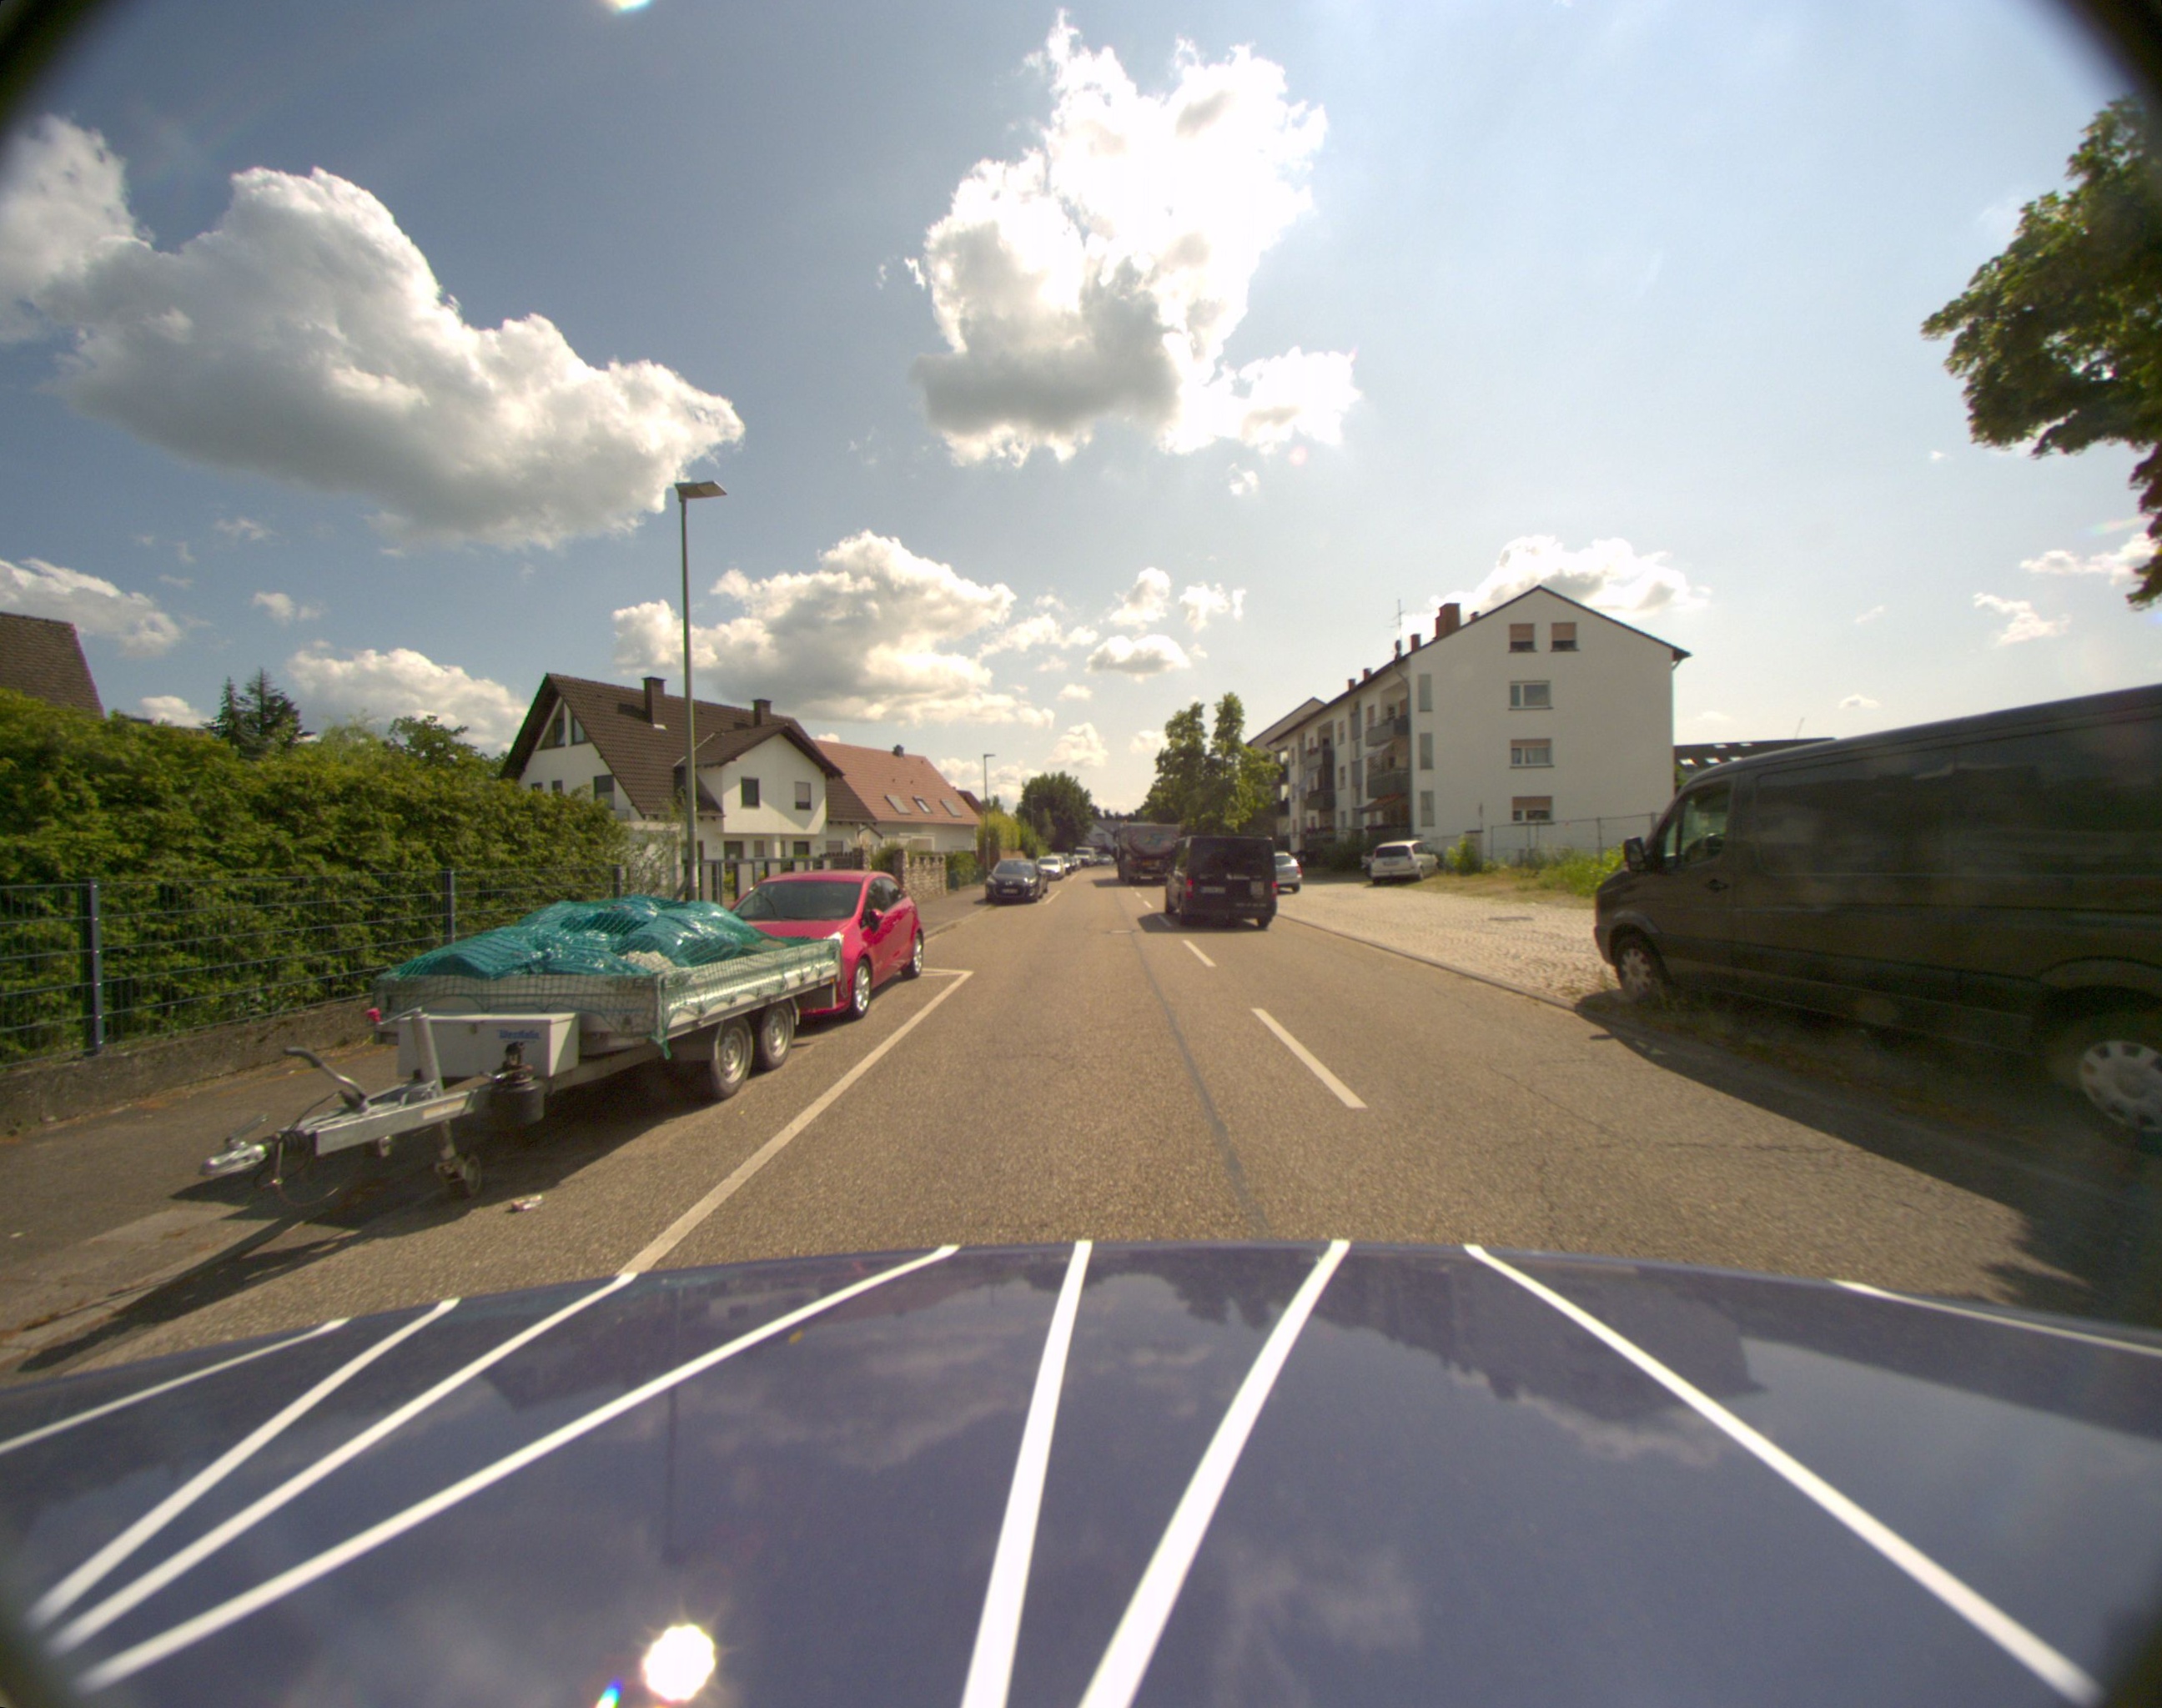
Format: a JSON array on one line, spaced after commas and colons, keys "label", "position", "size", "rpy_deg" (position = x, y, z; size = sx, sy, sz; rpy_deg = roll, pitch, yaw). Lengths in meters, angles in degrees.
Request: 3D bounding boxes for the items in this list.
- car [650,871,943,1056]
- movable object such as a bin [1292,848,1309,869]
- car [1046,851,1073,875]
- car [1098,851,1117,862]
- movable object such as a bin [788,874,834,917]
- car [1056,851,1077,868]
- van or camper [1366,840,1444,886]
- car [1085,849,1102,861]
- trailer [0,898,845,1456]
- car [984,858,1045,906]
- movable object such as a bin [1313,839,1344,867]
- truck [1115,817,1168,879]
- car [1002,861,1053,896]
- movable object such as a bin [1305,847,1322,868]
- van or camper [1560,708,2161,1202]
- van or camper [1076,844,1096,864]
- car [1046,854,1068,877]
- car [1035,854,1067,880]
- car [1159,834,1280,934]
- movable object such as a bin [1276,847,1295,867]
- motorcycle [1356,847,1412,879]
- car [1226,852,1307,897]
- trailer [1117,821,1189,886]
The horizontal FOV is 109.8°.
[{"label": "car", "position": [-2.977, 1.036, 9.174], "size": [1.696, 1.454, 4.755], "rpy_deg": [-2, 1, 0]}, {"label": "movable object such as a bin", "position": [13.340, 0.291, 46.207], "size": [0.752, 1.206, 0.806], "rpy_deg": [-2, -1, 1]}, {"label": "car", "position": [-1.660, 0.657, 59.994], "size": [1.896, 1.763, 4.709], "rpy_deg": [-1, 0, 1]}, {"label": "car", "position": [3.766, 0.334, 105.750], "size": [1.817, 1.513, 4.269], "rpy_deg": [0, 0, 14]}, {"label": "movable object such as a bin", "position": [-7.114, 1.088, 20.038], "size": [0.776, 1.052, 0.768], "rpy_deg": [-1, 1, 18]}, {"label": "car", "position": [-1.308, 0.525, 71.945], "size": [1.731, 1.496, 4.296], "rpy_deg": [0, 1, 2]}, {"label": "van or camper", "position": [12.559, 0.305, 29.303], "size": [1.776, 1.534, 4.007], "rpy_deg": [-3, 1, 37]}, {"label": "car", "position": [1.623, 0.176, 99.014], "size": [1.683, 1.513, 4.065], "rpy_deg": [0, 0, 9]}, {"label": "trailer", "position": [-2.996, 1.119, 4.505], "size": [1.612, 1.370, 4.432], "rpy_deg": [-2, 1, 2]}, {"label": "car", "position": [-2.278, 0.928, 27.009], "size": [1.748, 1.542, 4.121], "rpy_deg": [0, 0, 0]}, {"label": "movable object such as a bin", "position": [14.038, -0.037, 43.165], "size": [1.274, 1.374, 1.266], "rpy_deg": [-4, -5, 1]}, {"label": "truck", "position": [3.610, -0.359, 46.758], "size": [2.780, 3.478, 5.881], "rpy_deg": [-1, 0, 0]}, {"label": "car", "position": [-2.191, 1.004, 32.257], "size": [1.714, 1.310, 3.963], "rpy_deg": [-1, 0, 2]}, {"label": "movable object such as a bin", "position": [14.119, 0.235, 46.164], "size": [0.752, 1.206, 0.806], "rpy_deg": [-2, -1, 1]}, {"label": "van or camper", "position": [6.106, 0.386, 5.277], "size": [1.998, 2.303, 5.935], "rpy_deg": [-5, 0, 4]}, {"label": "van or camper", "position": [0.621, 0.015, 92.096], "size": [1.972, 2.345, 5.760], "rpy_deg": [0, 0, 5]}, {"label": "car", "position": [-1.702, 0.816, 54.716], "size": [1.446, 1.496, 3.671], "rpy_deg": [-3, 0, 0]}, {"label": "car", "position": [-1.913, 0.796, 48.941], "size": [1.749, 1.543, 4.292], "rpy_deg": [-2, 0, 1]}, {"label": "car", "position": [3.088, 0.593, 18.099], "size": [2.056, 2.022, 5.141], "rpy_deg": [0, 1, 1]}, {"label": "movable object such as a bin", "position": [12.415, 0.180, 46.141], "size": [0.956, 1.143, 0.825], "rpy_deg": [-2, -1, 1]}, {"label": "motorcycle", "position": [13.231, 0.387, 33.212], "size": [2.098, 1.242, 0.678], "rpy_deg": [-3, 1, 2]}, {"label": "car", "position": [6.962, 0.741, 28.967], "size": [1.753, 1.452, 4.709], "rpy_deg": [-5, -1, -1]}, {"label": "trailer", "position": [3.667, -0.045, 40.988], "size": [2.841, 3.051, 8.888], "rpy_deg": [-1, 0, -1]}]
